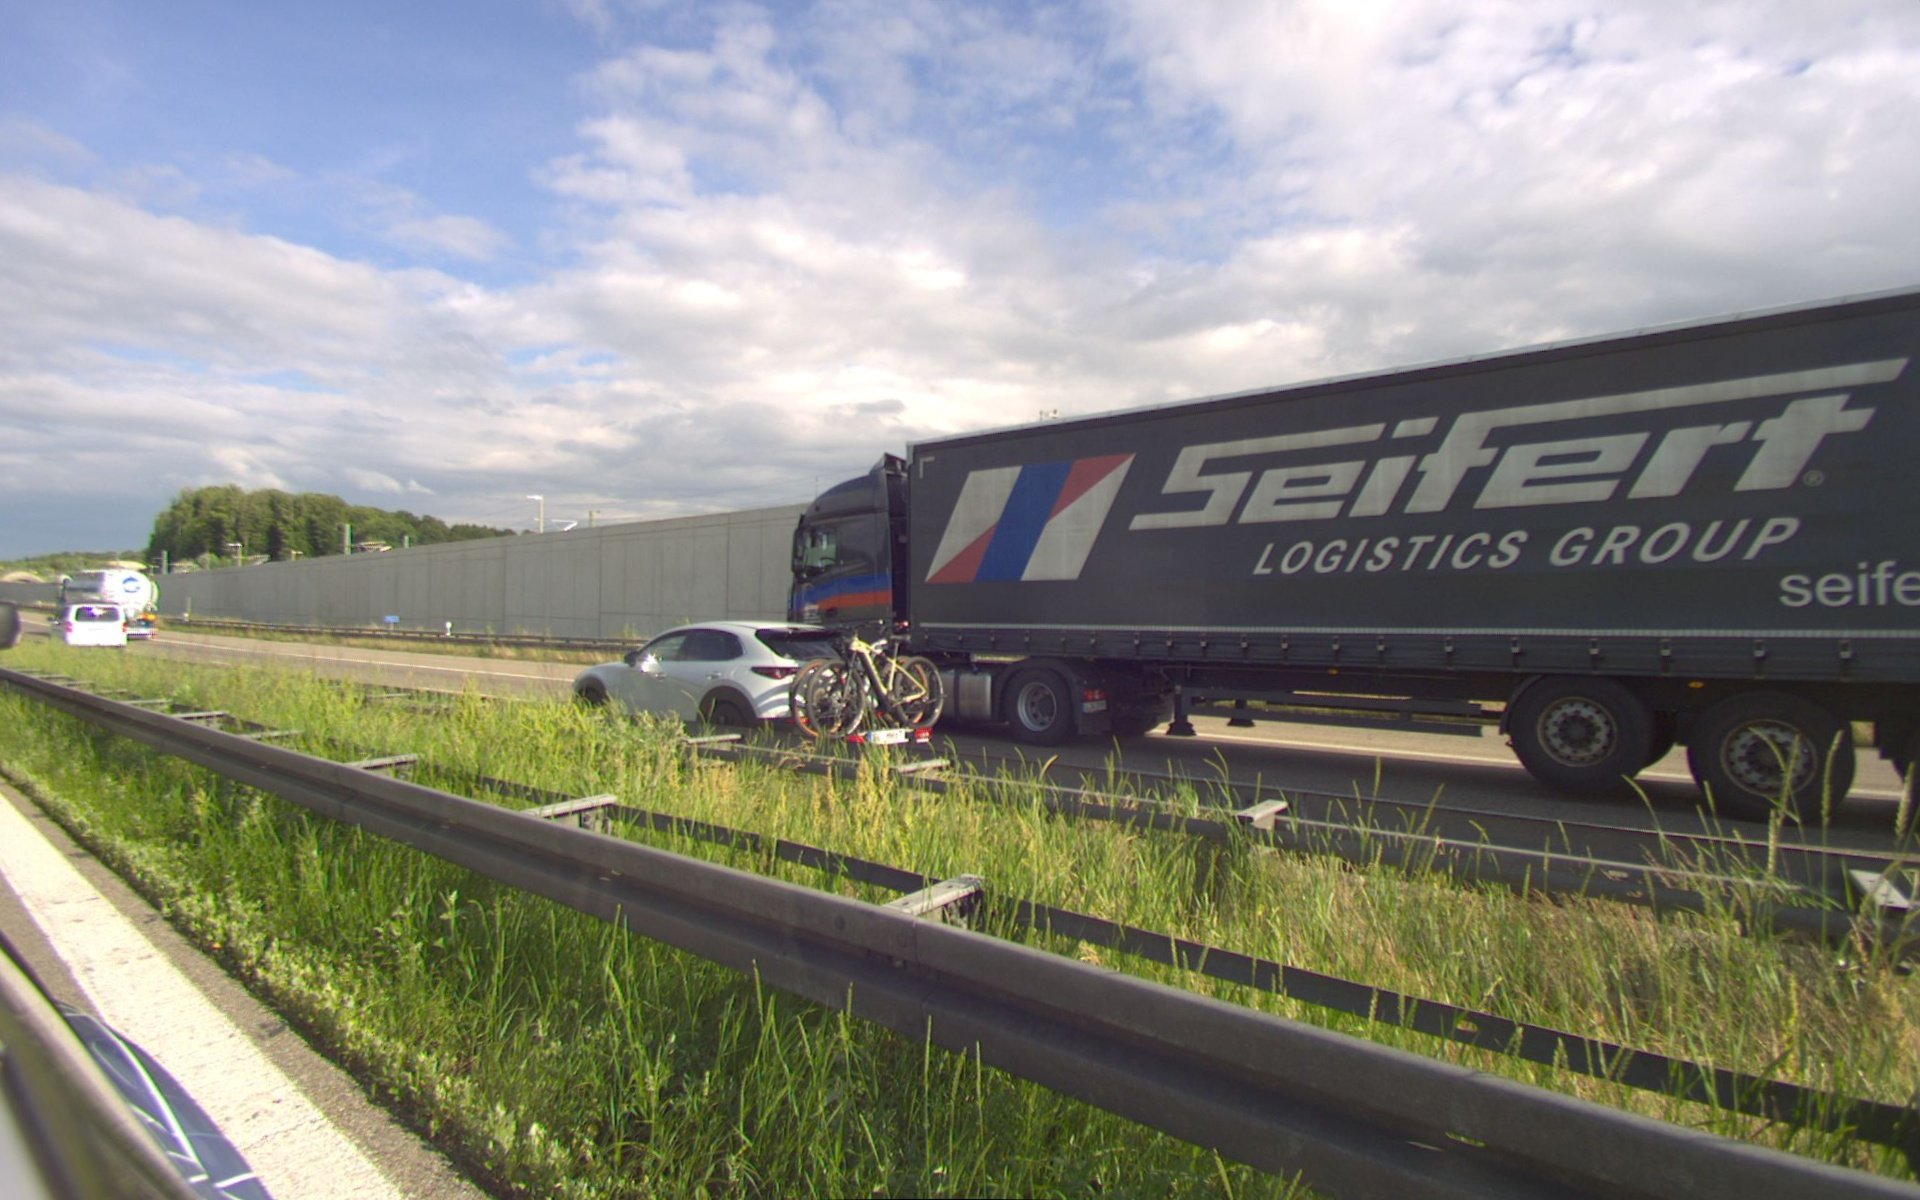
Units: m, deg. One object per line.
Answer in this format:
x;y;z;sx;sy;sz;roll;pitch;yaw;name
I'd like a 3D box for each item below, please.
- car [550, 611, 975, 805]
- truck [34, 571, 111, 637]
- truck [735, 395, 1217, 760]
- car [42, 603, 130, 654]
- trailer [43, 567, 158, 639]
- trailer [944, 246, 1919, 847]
-2.374;0.954;11.117;5.108;1.644;1.868;-1;0;42;car
-54.273;0.274;61.865;5.410;3.827;2.528;0;-2;38;truck
-0.076;-0.232;14.768;6.951;4.121;2.725;-1;-1;42;truck
-34.723;1.129;40.170;4.785;1.898;1.972;-1;-3;42;car
-49.509;0.202;58.118;12.524;3.799;2.516;0;-2;38;trailer
5.507;-0.350;9.791;12.899;4.146;2.730;-1;-1;42;trailer
